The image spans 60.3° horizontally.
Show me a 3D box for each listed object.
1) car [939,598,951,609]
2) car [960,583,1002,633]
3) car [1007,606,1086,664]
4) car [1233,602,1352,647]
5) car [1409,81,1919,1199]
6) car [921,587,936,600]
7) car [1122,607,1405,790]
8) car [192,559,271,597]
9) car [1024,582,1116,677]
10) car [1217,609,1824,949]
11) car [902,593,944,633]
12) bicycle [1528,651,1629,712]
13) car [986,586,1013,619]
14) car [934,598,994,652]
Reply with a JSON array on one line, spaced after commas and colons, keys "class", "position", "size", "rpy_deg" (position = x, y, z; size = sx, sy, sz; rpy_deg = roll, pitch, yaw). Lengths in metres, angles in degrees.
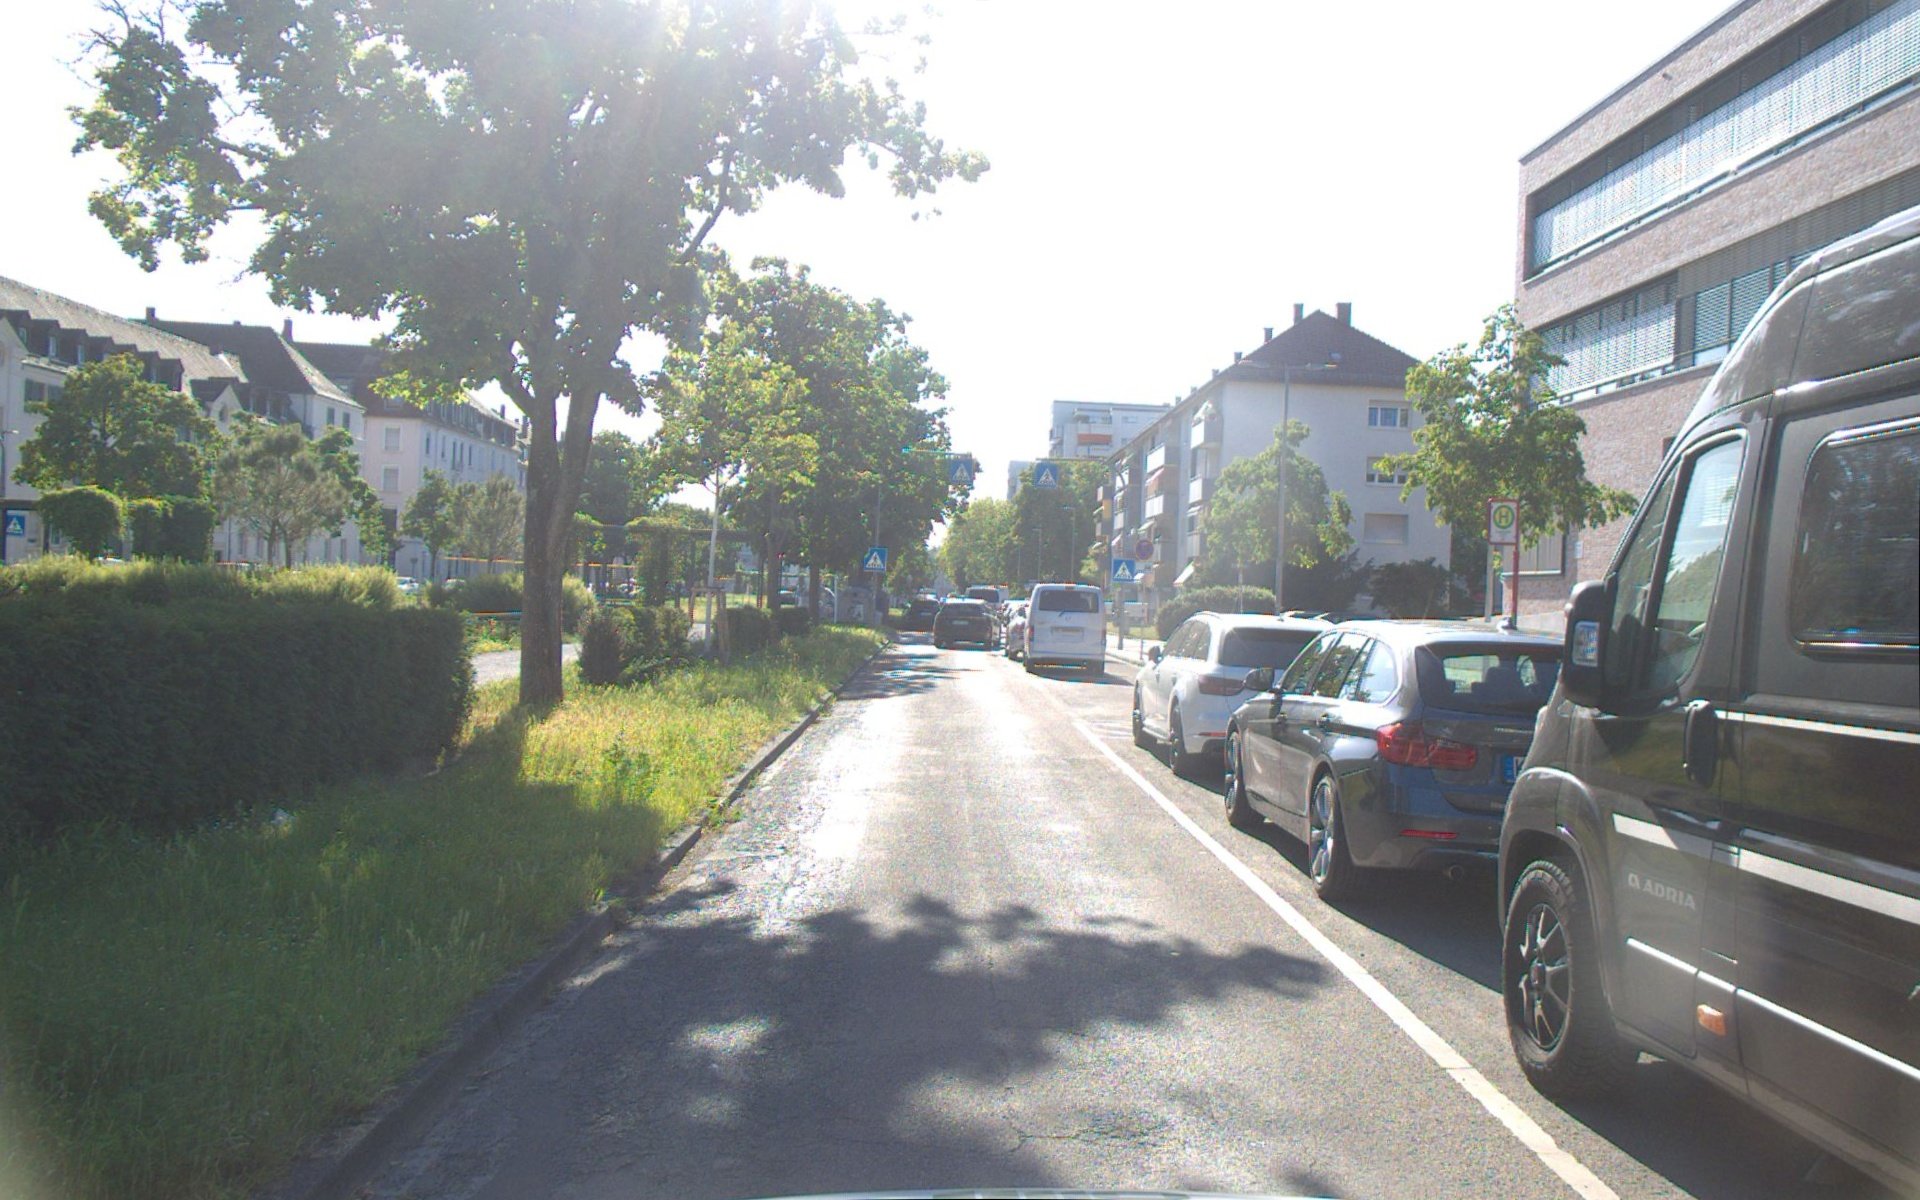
[{"class": "car", "position": [-2.266, 0.527, 243.762], "size": [1.758, 1.537, 3.999], "rpy_deg": [1, 0, -1]}, {"class": "car", "position": [0.941, 0.338, 75.737], "size": [1.758, 2.159, 3.999], "rpy_deg": [2, 0, -1]}, {"class": "car", "position": [2.195, 0.887, 42.929], "size": [1.729, 1.342, 4.167], "rpy_deg": [3, -1, 0]}, {"class": "car", "position": [13.504, 1.015, 67.291], "size": [4.391, 1.651, 1.798], "rpy_deg": [2, -2, -4]}, {"class": "car", "position": [2.916, 0.281, 3.116], "size": [2.073, 2.559, 6.529], "rpy_deg": [2, 0, -2]}, {"class": "car", "position": [-3.769, -0.770, 198.839], "size": [1.758, 1.537, 3.999], "rpy_deg": [1, 0, -1]}, {"class": "car", "position": [2.748, 0.830, 16.049], "size": [1.758, 1.445, 4.656], "rpy_deg": [2, 0, -1]}, {"class": "car", "position": [-35.758, -1.049, 81.324], "size": [1.758, 1.740, 4.702], "rpy_deg": [2, 0, -1]}, {"class": "car", "position": [2.362, 0.607, 36.449], "size": [1.757, 1.887, 4.413], "rpy_deg": [2, 0, 1]}, {"class": "car", "position": [2.879, 0.819, 9.746], "size": [1.953, 1.445, 4.635], "rpy_deg": [2, 0, 0]}, {"class": "car", "position": [-1.626, 0.566, 73.960], "size": [1.758, 1.652, 3.999], "rpy_deg": [2, 0, -1]}, {"class": "bicycle", "position": [11.819, 1.548, 31.629], "size": [1.758, 1.127, 0.500], "rpy_deg": [0, 0, -3]}, {"class": "car", "position": [3.209, 0.202, 134.798], "size": [1.953, 2.472, 4.499], "rpy_deg": [4, 0, -1]}, {"class": "car", "position": [0.101, 0.745, 51.571], "size": [1.758, 1.536, 3.999], "rpy_deg": [2, 0, -1]}]
